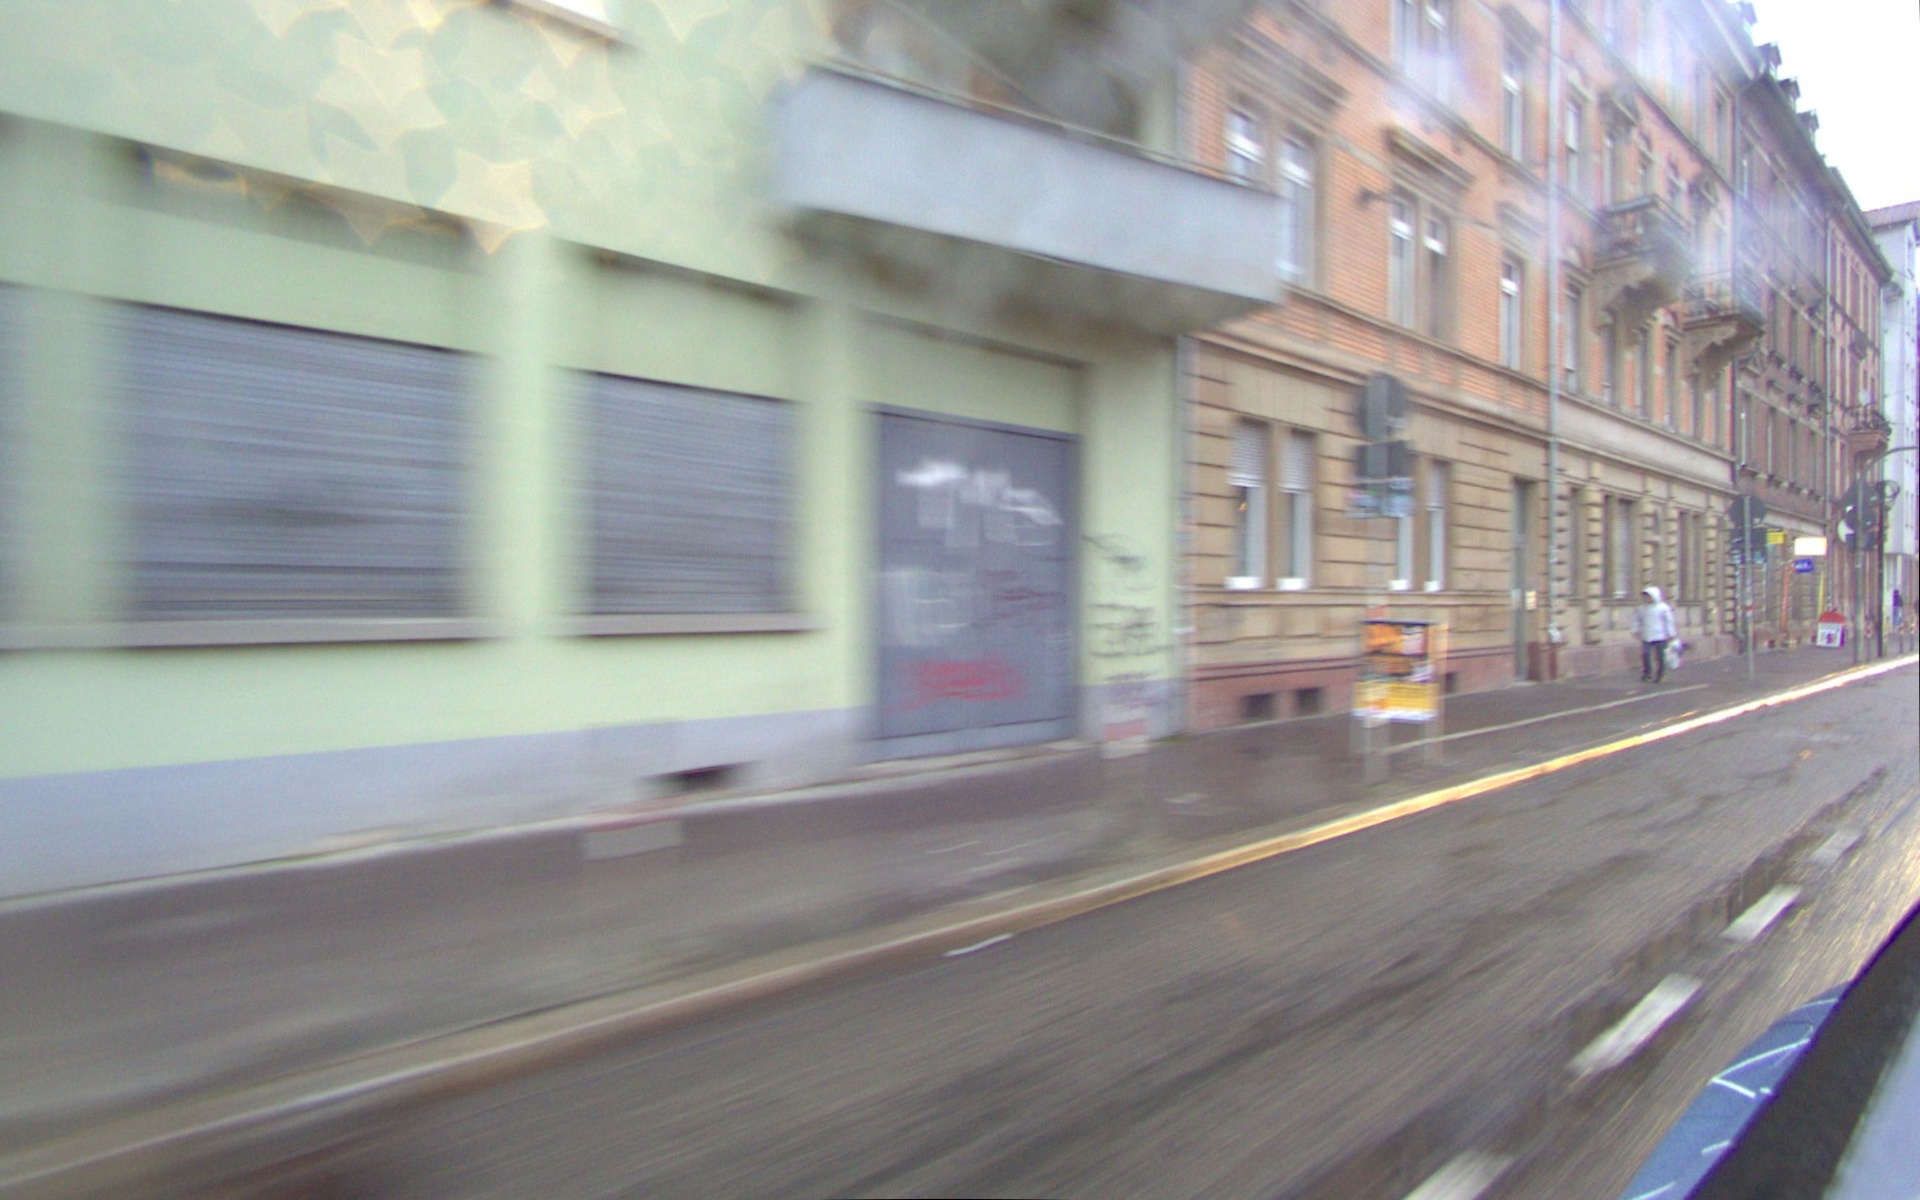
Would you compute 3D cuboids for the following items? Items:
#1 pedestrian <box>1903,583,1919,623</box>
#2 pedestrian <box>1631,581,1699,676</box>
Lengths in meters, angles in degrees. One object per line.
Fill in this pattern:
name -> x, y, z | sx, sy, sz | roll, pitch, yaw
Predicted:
pedestrian -> 42.708, 0.119, 45.205 | 0.661, 1.766, 0.777 | 0, 1, -40
pedestrian -> 12.364, 0.471, 17.748 | 0.728, 1.617, 0.788 | 0, 0, -37
